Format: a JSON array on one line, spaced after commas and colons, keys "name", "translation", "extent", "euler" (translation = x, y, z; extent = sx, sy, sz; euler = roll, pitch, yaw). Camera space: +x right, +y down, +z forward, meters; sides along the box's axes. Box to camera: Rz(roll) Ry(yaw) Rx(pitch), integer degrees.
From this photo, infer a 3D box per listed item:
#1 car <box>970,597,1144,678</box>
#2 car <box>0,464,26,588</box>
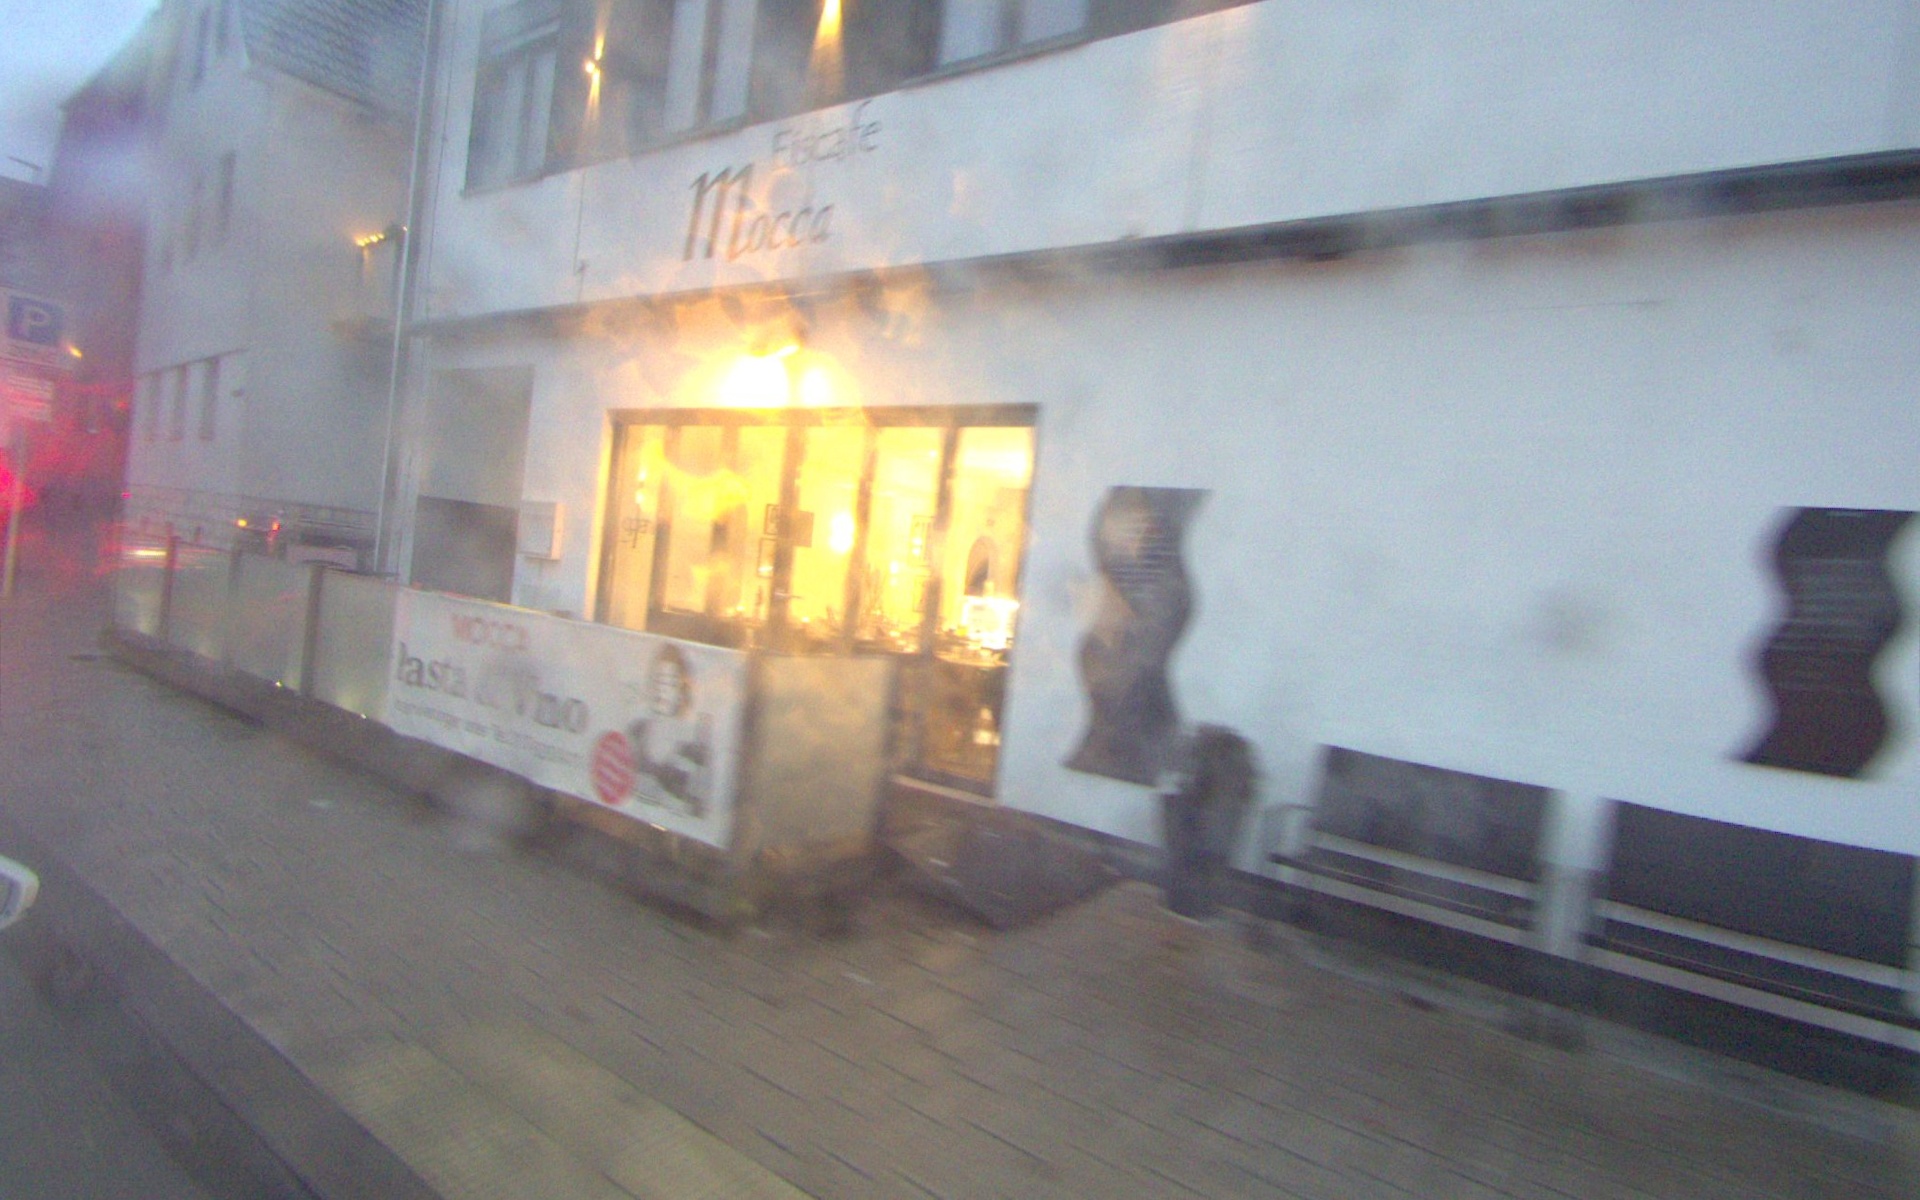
[{"name": "car", "translation": [2.276, 0.881, 22.852], "extent": [1.909, 1.434, 3.942], "euler": [10, 4, 40]}, {"name": "car", "translation": [-13.778, -1.150, 13.207], "extent": [4.137, 1.485, 1.724], "euler": [9, 4, 40]}]
